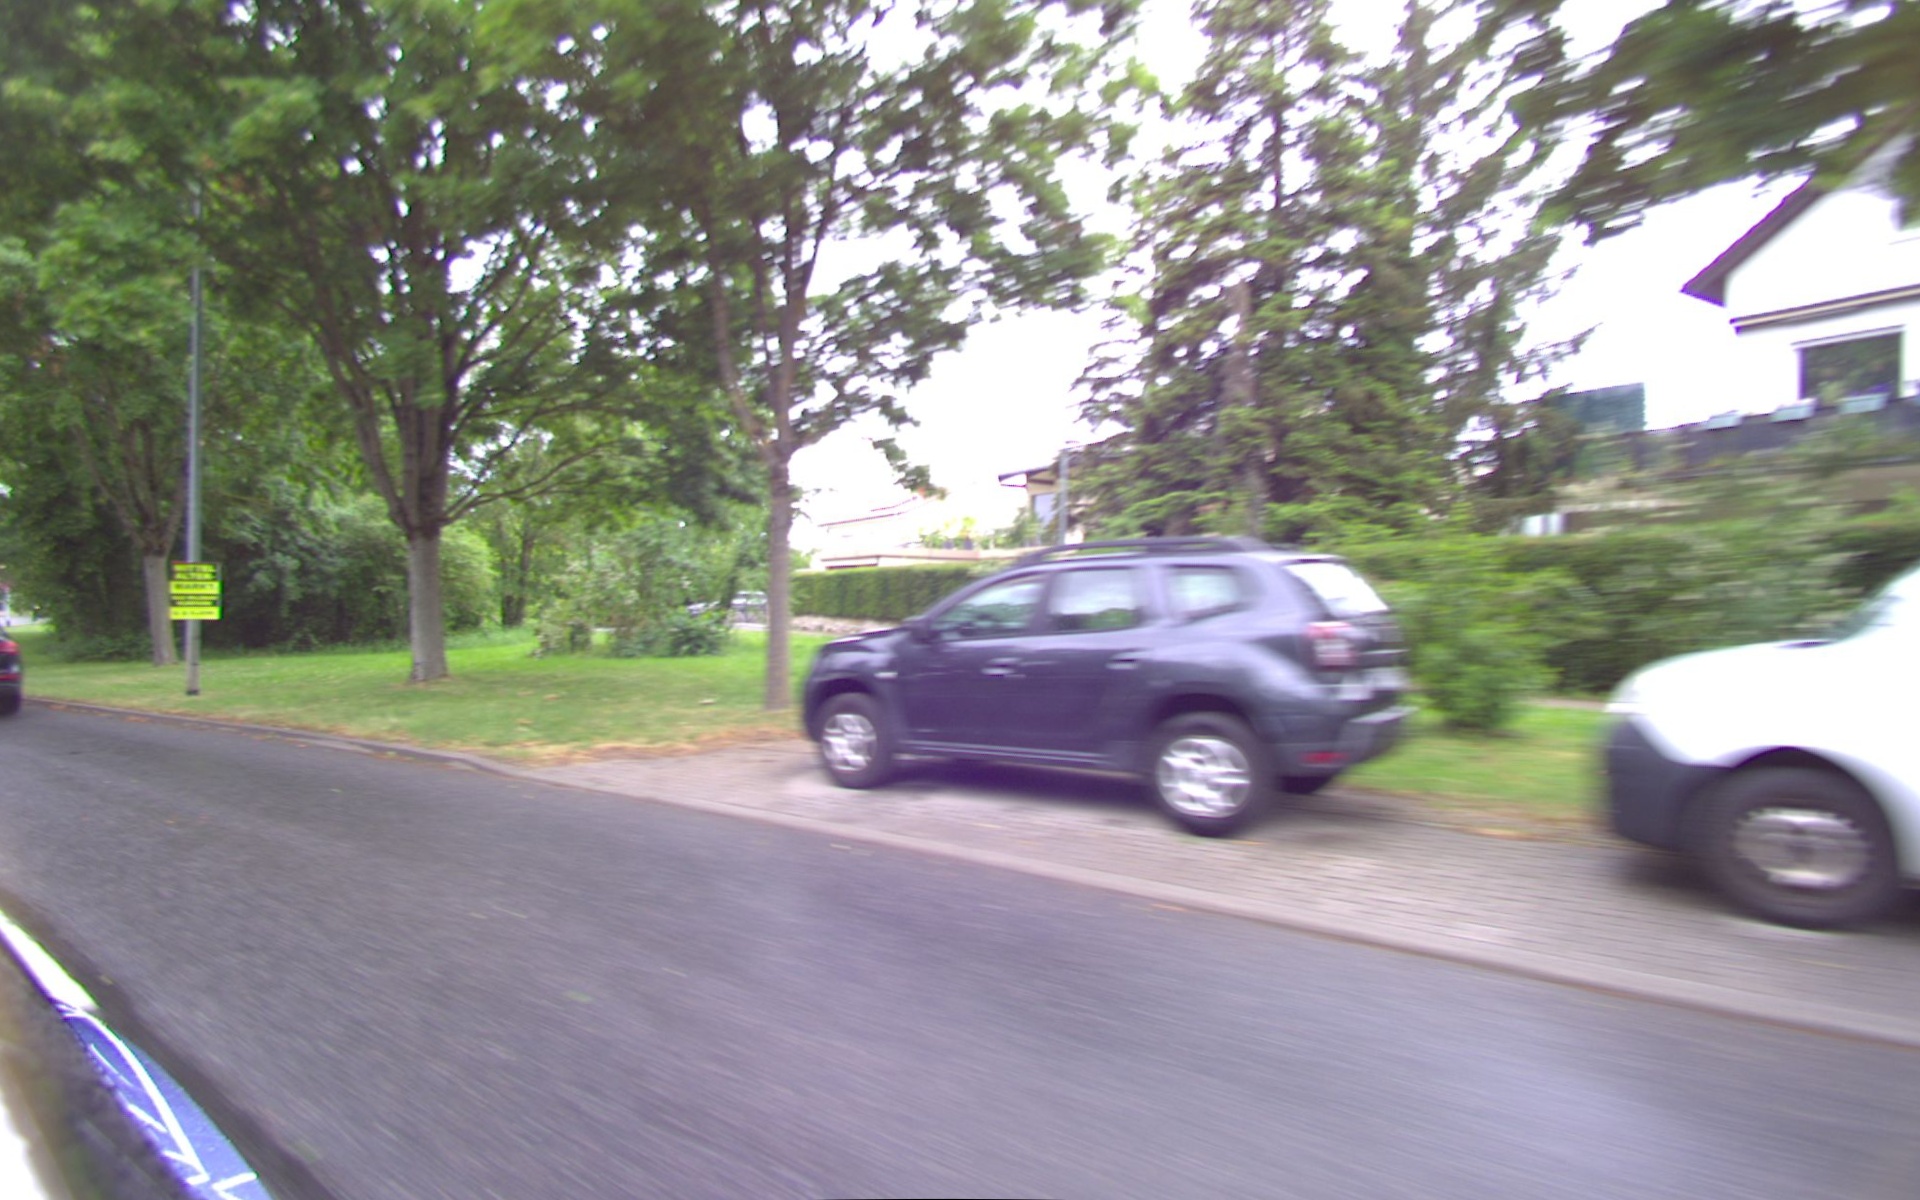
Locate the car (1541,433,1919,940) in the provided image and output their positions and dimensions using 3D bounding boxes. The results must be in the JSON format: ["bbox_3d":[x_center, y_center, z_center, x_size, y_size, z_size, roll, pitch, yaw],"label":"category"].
[{"bbox_3d":[4.739,0.279,3.556,4.373,1.809,1.778,-1,1,44],"label":"car"}]

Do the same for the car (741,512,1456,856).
[{"bbox_3d":[0.718,0.375,6.935,4.584,1.652,1.734,0,2,37],"label":"car"}]

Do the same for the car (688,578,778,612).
[{"bbox_3d":[-10.133,-0.234,45.243,3.538,1.386,1.803,-2,2,-27],"label":"car"}]

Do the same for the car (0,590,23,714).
[{"bbox_3d":[-15.459,0.773,14.675,4.394,1.704,1.836,-1,0,35],"label":"car"}]
